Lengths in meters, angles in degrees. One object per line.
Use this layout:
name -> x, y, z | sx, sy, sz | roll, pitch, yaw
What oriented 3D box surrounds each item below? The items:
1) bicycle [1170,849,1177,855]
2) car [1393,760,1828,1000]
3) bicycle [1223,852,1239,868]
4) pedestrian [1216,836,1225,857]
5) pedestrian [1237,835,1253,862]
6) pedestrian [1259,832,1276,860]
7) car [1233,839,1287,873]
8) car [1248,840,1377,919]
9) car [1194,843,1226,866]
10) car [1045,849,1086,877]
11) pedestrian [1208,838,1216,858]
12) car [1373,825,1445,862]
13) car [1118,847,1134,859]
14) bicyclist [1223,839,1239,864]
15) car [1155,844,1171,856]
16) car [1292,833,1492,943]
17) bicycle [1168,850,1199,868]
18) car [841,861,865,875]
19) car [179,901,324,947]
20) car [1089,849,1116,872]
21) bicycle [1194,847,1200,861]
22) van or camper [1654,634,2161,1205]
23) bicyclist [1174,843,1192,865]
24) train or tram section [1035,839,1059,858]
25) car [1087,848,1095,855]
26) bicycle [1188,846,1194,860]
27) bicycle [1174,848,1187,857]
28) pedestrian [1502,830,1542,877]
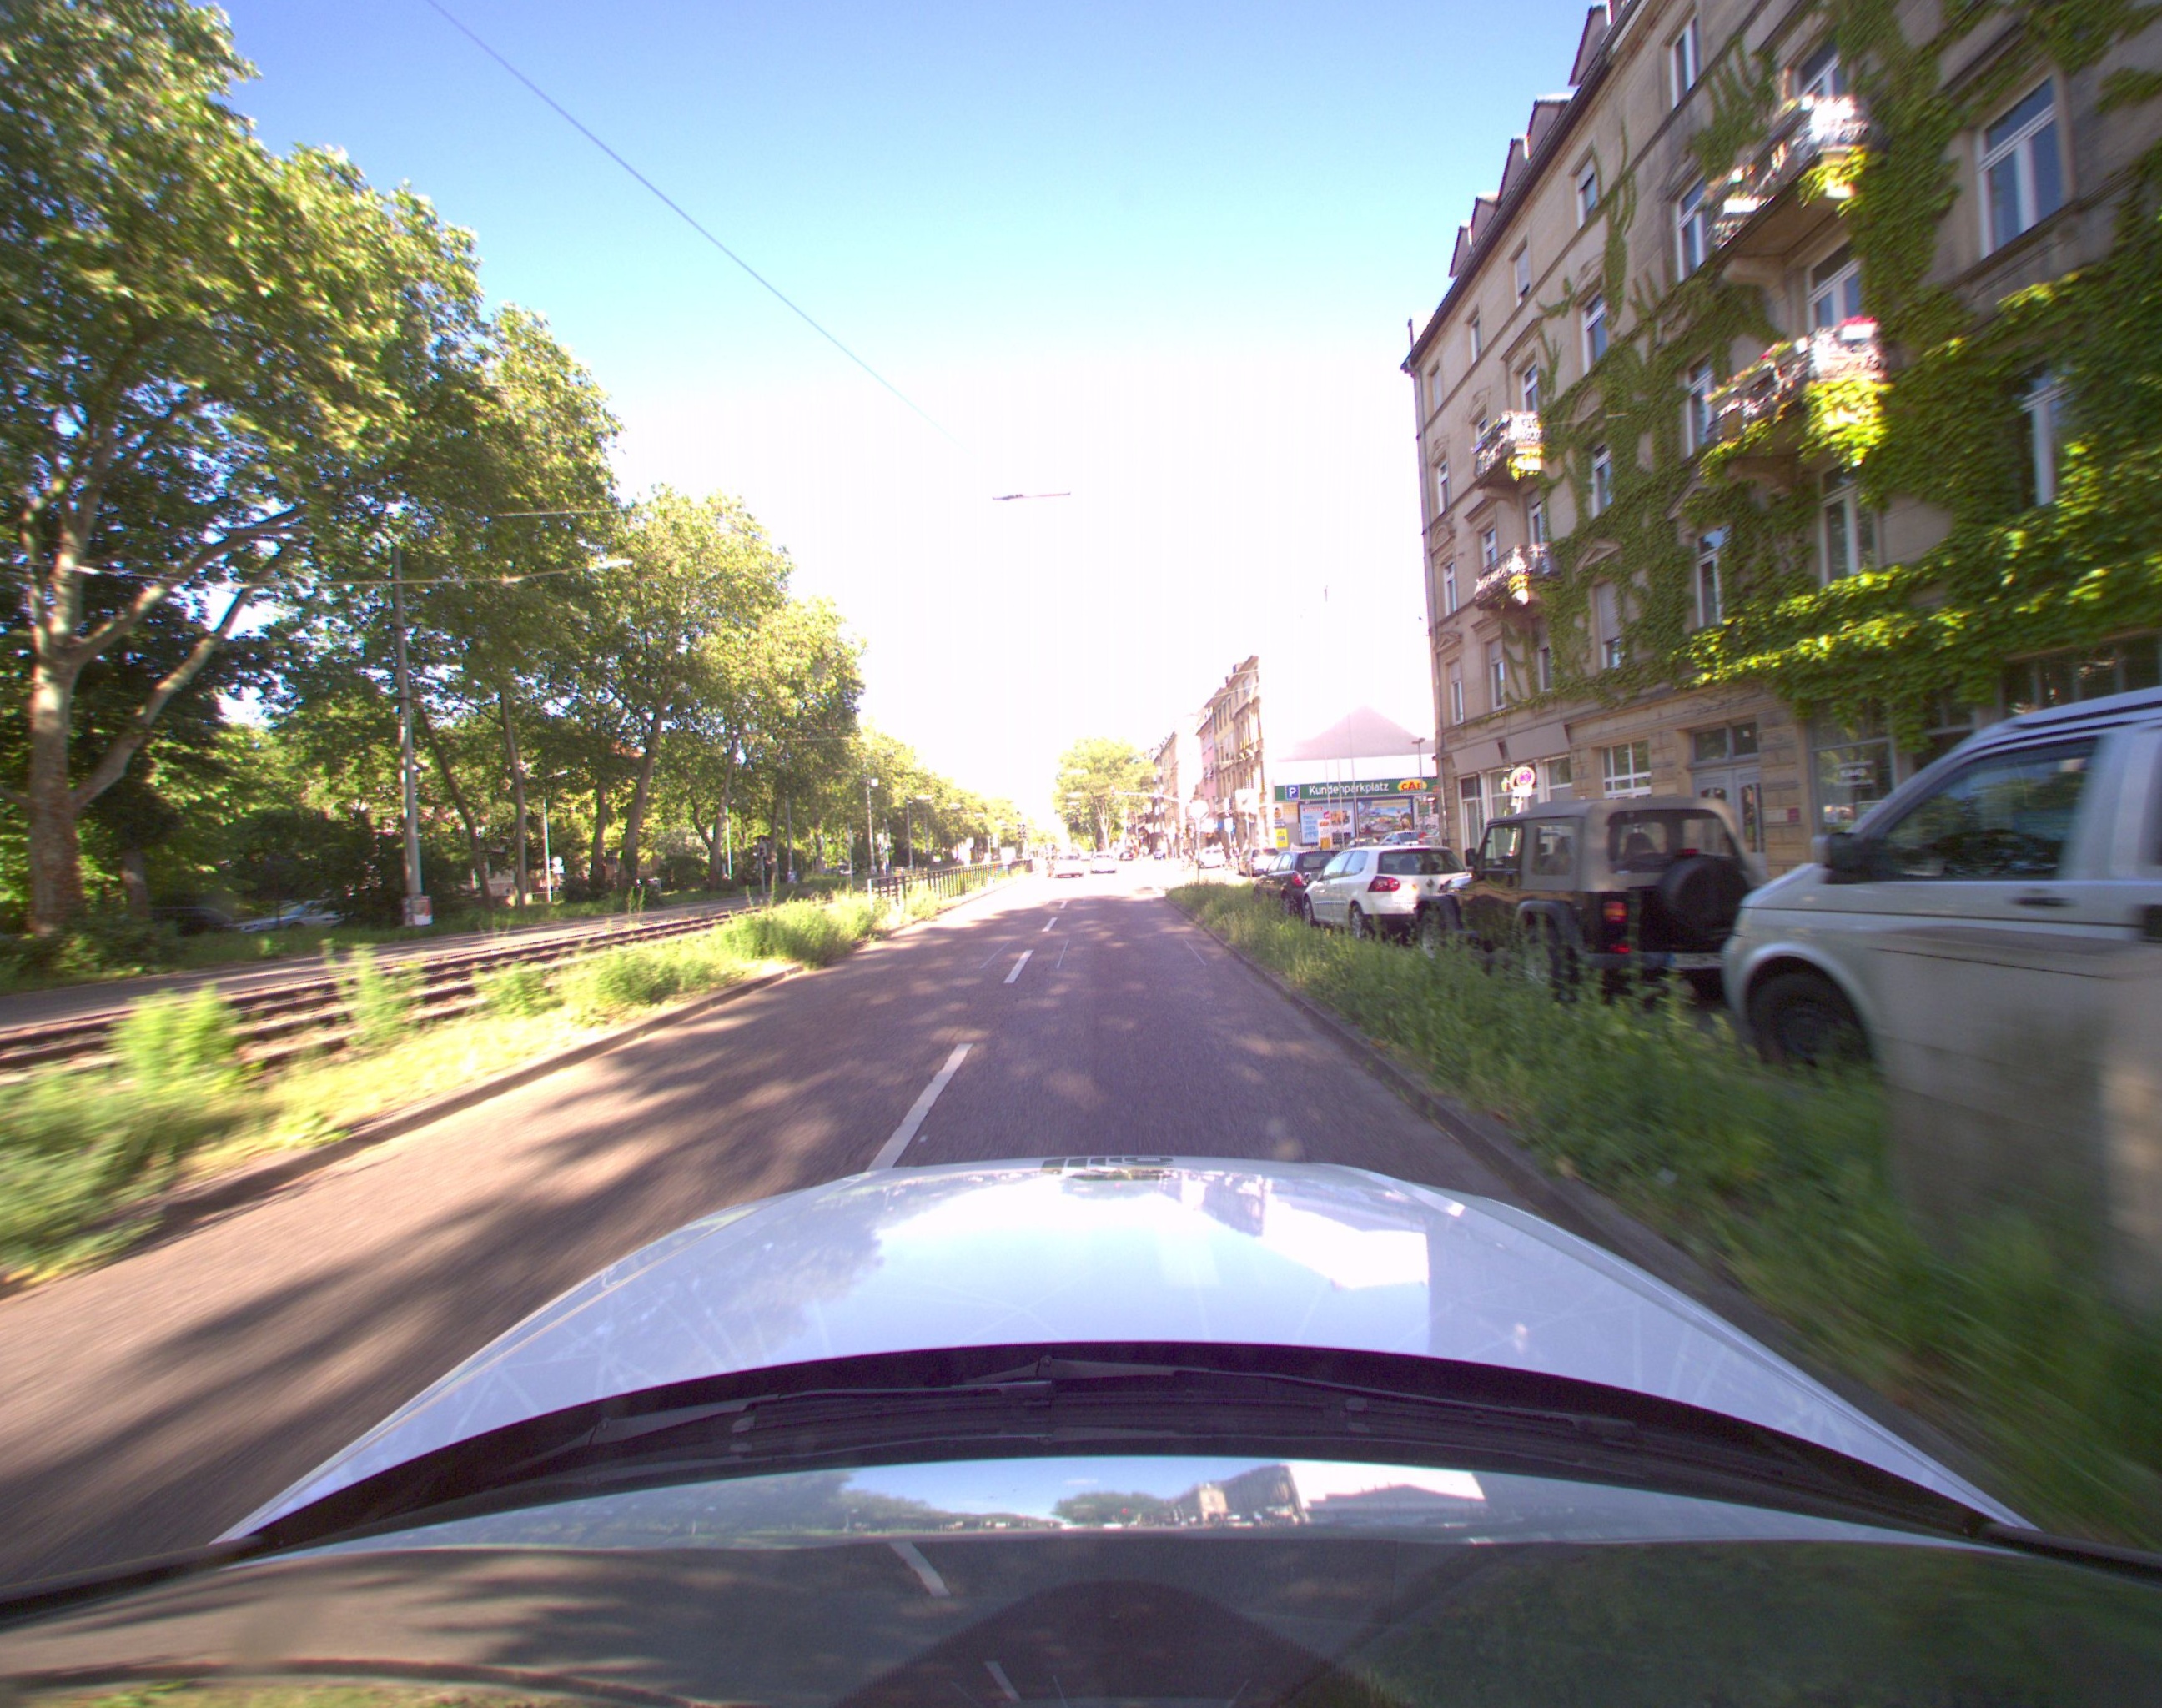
bicycle -> 12.716, -0.274, 111.942 | 0.752, 0.770, 1.945 | -3, 0, 0
car -> 4.883, 0.188, 8.332 | 1.857, 1.764, 4.002 | -3, 0, 2
bicycle -> 9.374, 0.348, 50.895 | 0.647, 0.920, 1.918 | -3, 0, 2
pedestrian -> 12.135, -0.623, 70.795 | 0.670, 1.806, 0.531 | -3, 0, 1
pedestrian -> 11.044, -0.376, 54.830 | 0.762, 1.755, 0.510 | -3, 0, -19
pedestrian -> 12.207, -0.521, 53.346 | 0.762, 1.841, 0.744 | -3, 0, -17
car -> 9.322, 0.088, 42.770 | 1.826, 1.487, 4.736 | -6, 0, 2
car -> 4.884, 0.490, 17.752 | 1.635, 1.517, 3.999 | -1, 0, -1
car -> 9.136, 0.012, 57.888 | 1.557, 1.415, 4.005 | -6, 0, 1
car -> -0.956, 0.494, 47.397 | 1.610, 1.467, 3.874 | -3, 0, -12
pedestrian -> 11.370, -0.532, 70.842 | 0.547, 1.708, 0.389 | -3, 0, 4
car -> 16.214, -0.487, 40.465 | 1.740, 1.644, 3.996 | -3, 0, -3
car -> 5.831, -0.110, 105.882 | 1.730, 1.433, 3.677 | -2, 0, 0
bicyclist -> 9.382, -0.149, 50.931 | 0.674, 1.445, 1.182 | -7, 0, 1
car -> 10.841, -0.549, 107.788 | 1.730, 1.519, 3.636 | -2, 0, 0
car -> 4.863, 0.462, 13.379 | 1.733, 1.517, 3.999 | -1, 0, -1
bicycle -> 6.879, 0.315, 54.681 | 0.763, 1.102, 1.930 | -3, 0, -42
car -> -26.859, 1.619, 96.105 | 1.664, 1.509, 4.144 | -3, 0, 0
car -> -27.125, 2.262, 26.783 | 1.468, 1.116, 3.216 | -3, 0, -2
car -> 1.455, 0.421, 55.176 | 1.734, 1.467, 4.001 | -1, 0, 1
bicycle -> 10.025, -0.016, 70.281 | 0.446, 1.159, 1.762 | -3, 0, 7
van or camper -> 4.726, 0.192, 2.794 | 1.878, 2.013, 5.094 | -3, 0, 0
bicyclist -> 6.845, 0.023, 54.696 | 0.939, 1.461, 0.751 | -2, 0, 45
train or tram section -> -7.238, -1.212, 178.548 | 3.955, 3.865, 17.493 | -3, 0, 1
car -> 2.851, -0.798, 235.597 | 1.986, 2.013, 4.001 | -3, 0, 1
bicycle -> 9.553, -0.118, 70.669 | 0.411, 1.140, 1.813 | -2, 0, 8
bicycle -> 10.263, -0.154, 83.695 | 0.646, 0.903, 1.346 | -2, 0, 43
pedestrian -> 12.348, -0.018, 22.822 | 0.713, 1.261, 0.713 | -3, 0, 1
